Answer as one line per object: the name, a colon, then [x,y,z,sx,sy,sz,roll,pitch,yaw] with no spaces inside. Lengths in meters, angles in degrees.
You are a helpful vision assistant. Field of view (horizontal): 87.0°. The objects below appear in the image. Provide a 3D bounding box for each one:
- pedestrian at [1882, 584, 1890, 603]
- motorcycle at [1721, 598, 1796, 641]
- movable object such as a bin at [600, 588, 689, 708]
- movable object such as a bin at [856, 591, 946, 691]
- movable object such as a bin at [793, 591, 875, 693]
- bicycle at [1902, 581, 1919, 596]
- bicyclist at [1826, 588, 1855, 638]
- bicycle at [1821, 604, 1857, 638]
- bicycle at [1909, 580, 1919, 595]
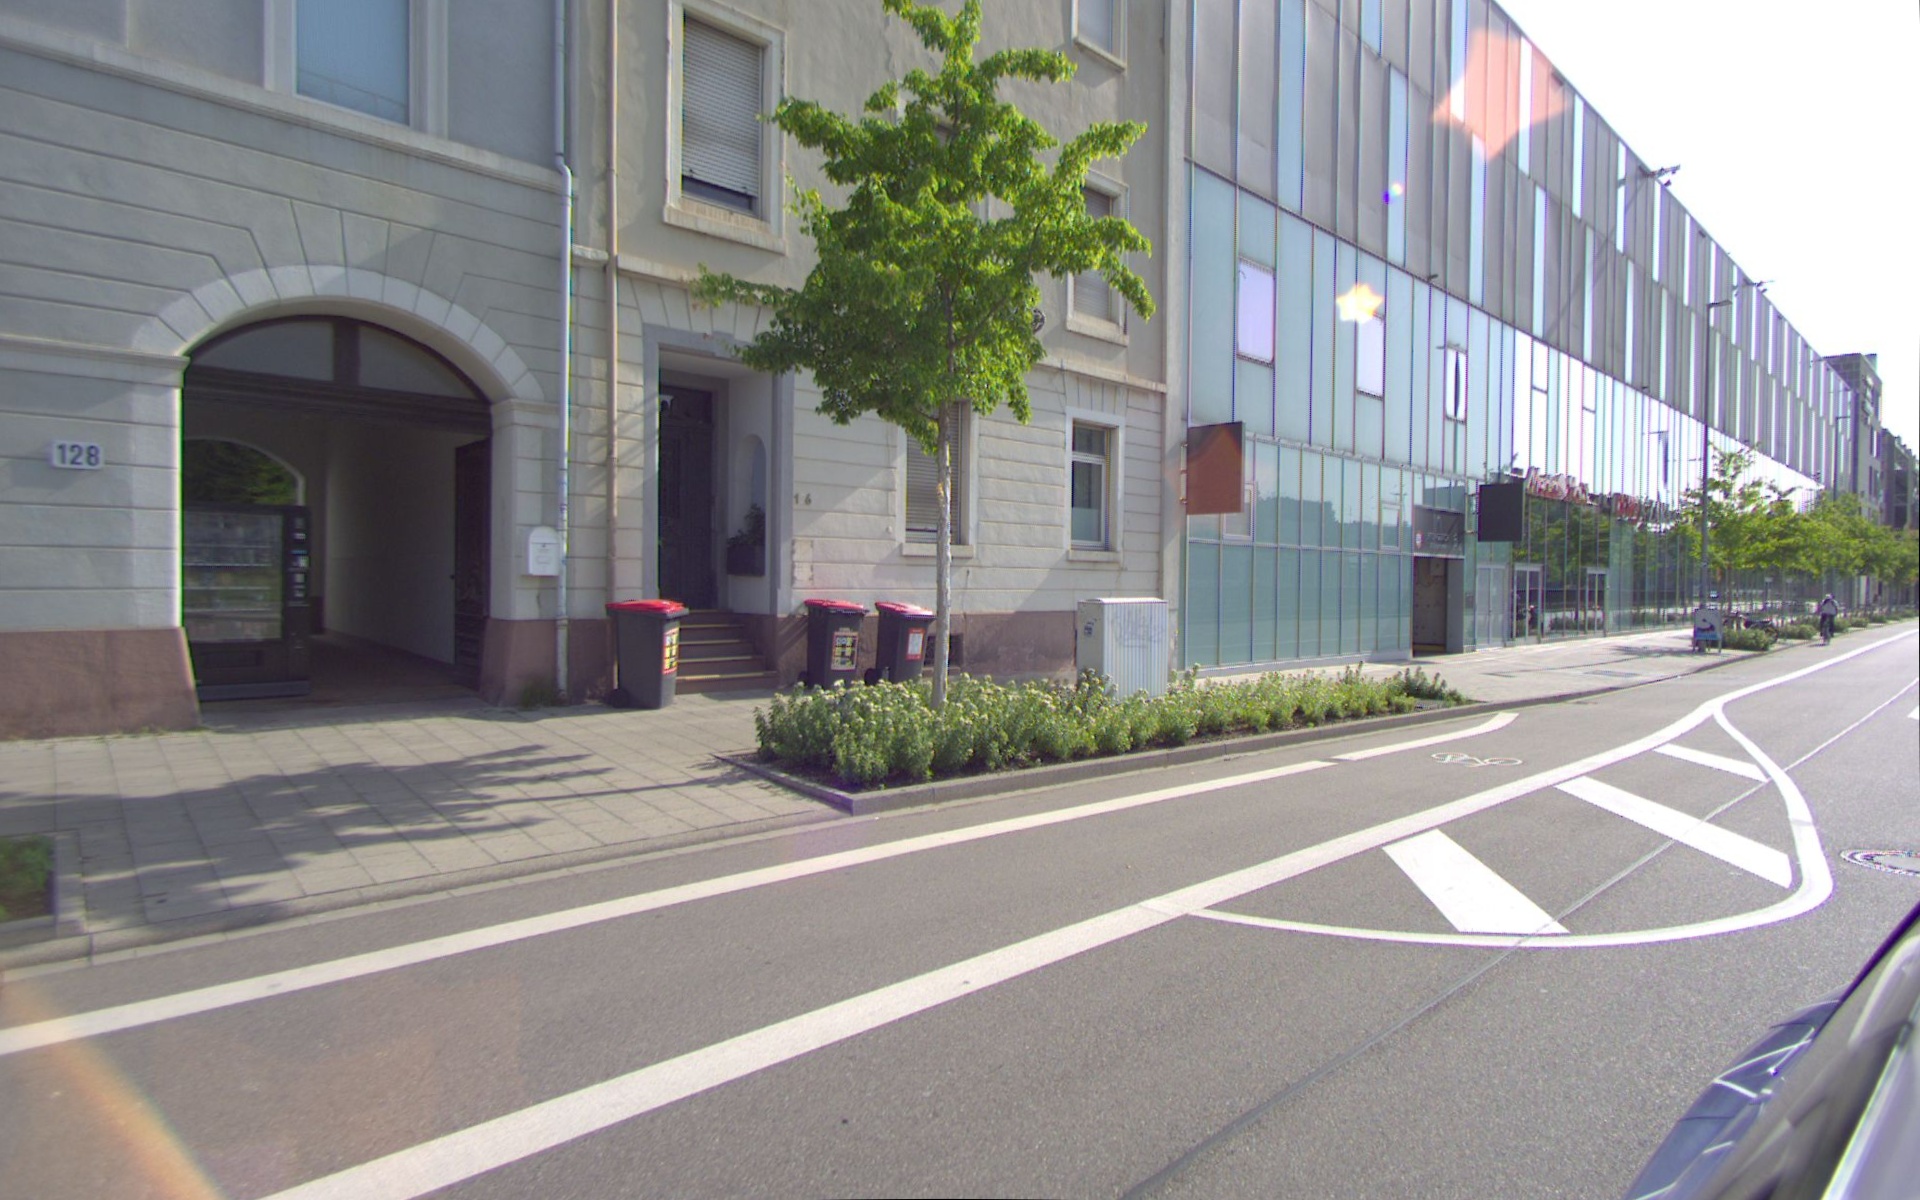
pedestrian: [84.340,-0.614,92.169,0.764,1.670,0.468,0,0,-42]
motorcycle: [27.161,0.651,34.484,1.965,1.366,0.856,1,2,38]
movable object such as a bin: [-3.199,0.473,10.303,0.659,1.167,0.617,1,-1,4]
movable object such as a bin: [-0.733,0.494,12.592,0.794,1.187,0.782,2,-1,-43]
movable object such as a bin: [-1.501,0.483,12.020,0.659,1.167,0.705,2,-1,-43]
bicycle: [74.080,-0.866,78.135,0.481,1.123,1.882,0,1,-39]
bicyclist: [31.449,0.448,36.141,0.755,1.770,0.652,0,1,-40]
bicycle: [31.322,0.741,36.046,2.014,1.131,0.662,-1,1,-40]
bicycle: [77.129,-1.008,80.884,0.675,1.127,1.843,0,0,-40]
